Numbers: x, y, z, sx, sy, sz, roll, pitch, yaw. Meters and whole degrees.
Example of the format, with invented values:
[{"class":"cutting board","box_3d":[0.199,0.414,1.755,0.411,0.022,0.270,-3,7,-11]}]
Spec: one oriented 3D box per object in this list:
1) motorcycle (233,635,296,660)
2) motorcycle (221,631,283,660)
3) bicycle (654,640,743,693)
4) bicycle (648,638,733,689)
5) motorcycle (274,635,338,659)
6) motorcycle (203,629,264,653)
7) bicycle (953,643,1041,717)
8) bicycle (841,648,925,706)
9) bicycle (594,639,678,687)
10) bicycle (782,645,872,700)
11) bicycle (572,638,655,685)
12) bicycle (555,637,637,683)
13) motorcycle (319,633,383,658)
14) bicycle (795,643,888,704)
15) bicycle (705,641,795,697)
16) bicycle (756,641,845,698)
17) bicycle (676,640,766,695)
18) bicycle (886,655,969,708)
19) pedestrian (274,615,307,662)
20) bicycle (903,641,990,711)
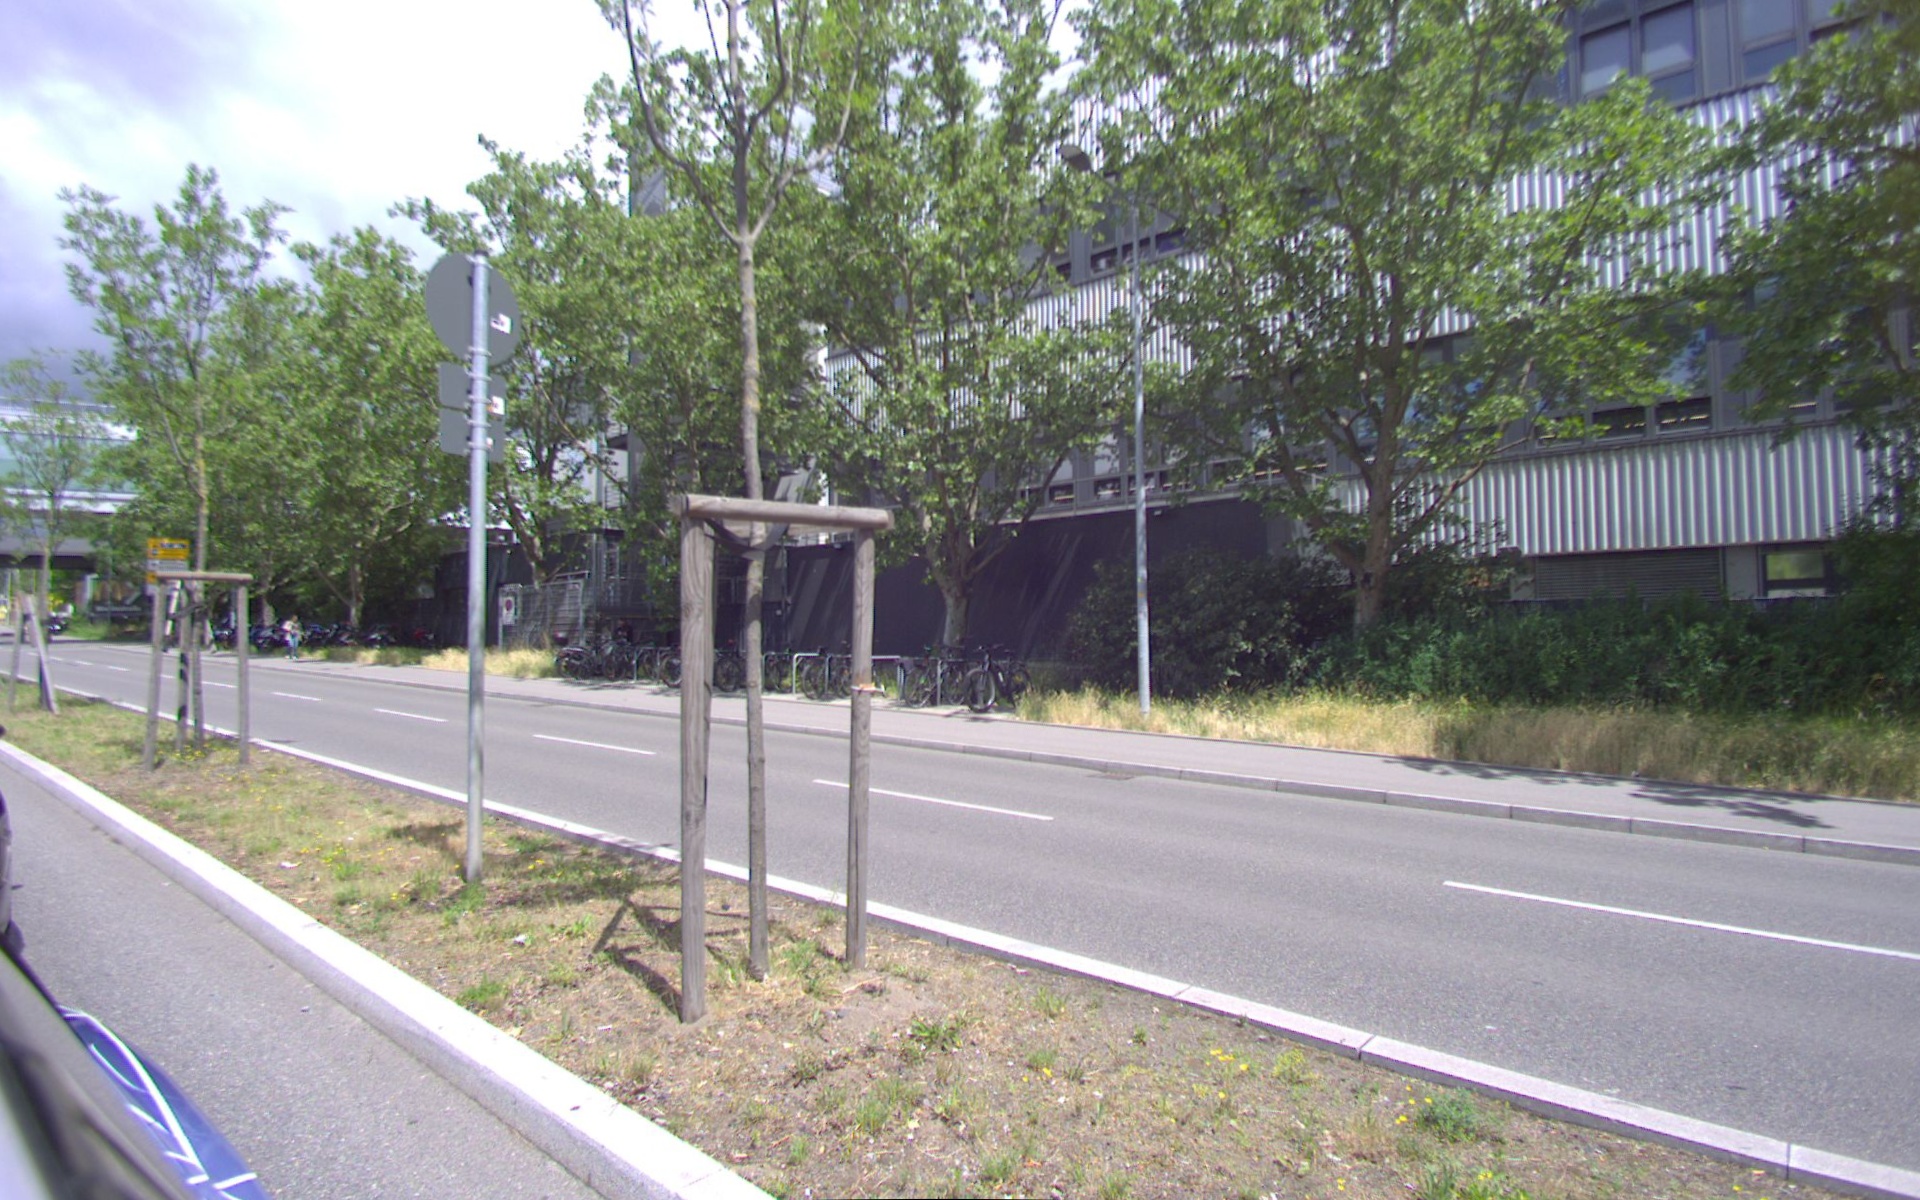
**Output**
[{"class":"motorcycle","box_3d":[-28.709,1.944,41.803,0.534,0.976,2.105,-2,-1,41]},{"class":"motorcycle","box_3d":[-30.015,1.918,42.934,0.534,1.146,2.105,-2,-1,41]},{"class":"bicycle","box_3d":[-5.987,1.502,23.255,0.382,1.119,2.101,-2,-1,43]},{"class":"bicycle","box_3d":[-6.478,1.513,24.405,0.382,1.119,2.101,-2,-1,43]},{"class":"motorcycle","box_3d":[-26.296,1.893,40.705,0.534,0.892,2.105,-2,-1,41]},{"class":"motorcycle","box_3d":[-32.106,1.805,44.745,0.534,0.976,2.105,-2,-1,41]},{"class":"bicycle","box_3d":[0.663,1.340,17.390,0.381,1.137,1.968,-2,-1,39]},{"class":"bicycle","box_3d":[-1.466,1.478,19.699,0.381,1.005,1.968,-2,-1,39]},{"class":"bicycle","box_3d":[-8.158,1.569,25.529,0.382,1.119,2.101,-2,-1,43]},{"class":"bicycle","box_3d":[-2.740,1.481,21.128,0.382,1.038,2.101,-2,-1,43]},{"class":"bicycle","box_3d":[-8.902,1.573,26.077,0.382,1.119,2.101,-2,-1,43]},{"class":"bicycle","box_3d":[-9.543,1.554,26.622,0.382,1.119,2.101,-2,-1,43]},{"class":"motorcycle","box_3d":[-23.963,1.776,39.834,0.534,0.905,2.105,-2,-1,41]},{"class":"bicycle","box_3d":[-2.337,1.437,20.220,0.382,1.104,2.101,-2,-1,43]},{"class":"bicycle","box_3d":[-4.540,1.481,22.008,0.382,1.119,2.101,-2,-1,43]},{"class":"bicycle","box_3d":[-3.409,1.458,21.742,0.382,1.119,2.101,-2,-1,43]},{"class":"bicycle","box_3d":[-5.330,1.490,22.659,0.382,1.119,2.101,-2,-1,43]},{"class":"bicycle","box_3d":[-0.594,1.522,19.213,0.381,0.897,1.968,-2,-1,39]},{"class":"pedestrian","box_3d":[-25.146,1.443,38.012,0.672,1.734,0.888,-2,-2,41]},{"class":"bicycle","box_3d":[-0.216,1.337,18.112,0.381,1.137,1.968,-2,-1,39]}]
